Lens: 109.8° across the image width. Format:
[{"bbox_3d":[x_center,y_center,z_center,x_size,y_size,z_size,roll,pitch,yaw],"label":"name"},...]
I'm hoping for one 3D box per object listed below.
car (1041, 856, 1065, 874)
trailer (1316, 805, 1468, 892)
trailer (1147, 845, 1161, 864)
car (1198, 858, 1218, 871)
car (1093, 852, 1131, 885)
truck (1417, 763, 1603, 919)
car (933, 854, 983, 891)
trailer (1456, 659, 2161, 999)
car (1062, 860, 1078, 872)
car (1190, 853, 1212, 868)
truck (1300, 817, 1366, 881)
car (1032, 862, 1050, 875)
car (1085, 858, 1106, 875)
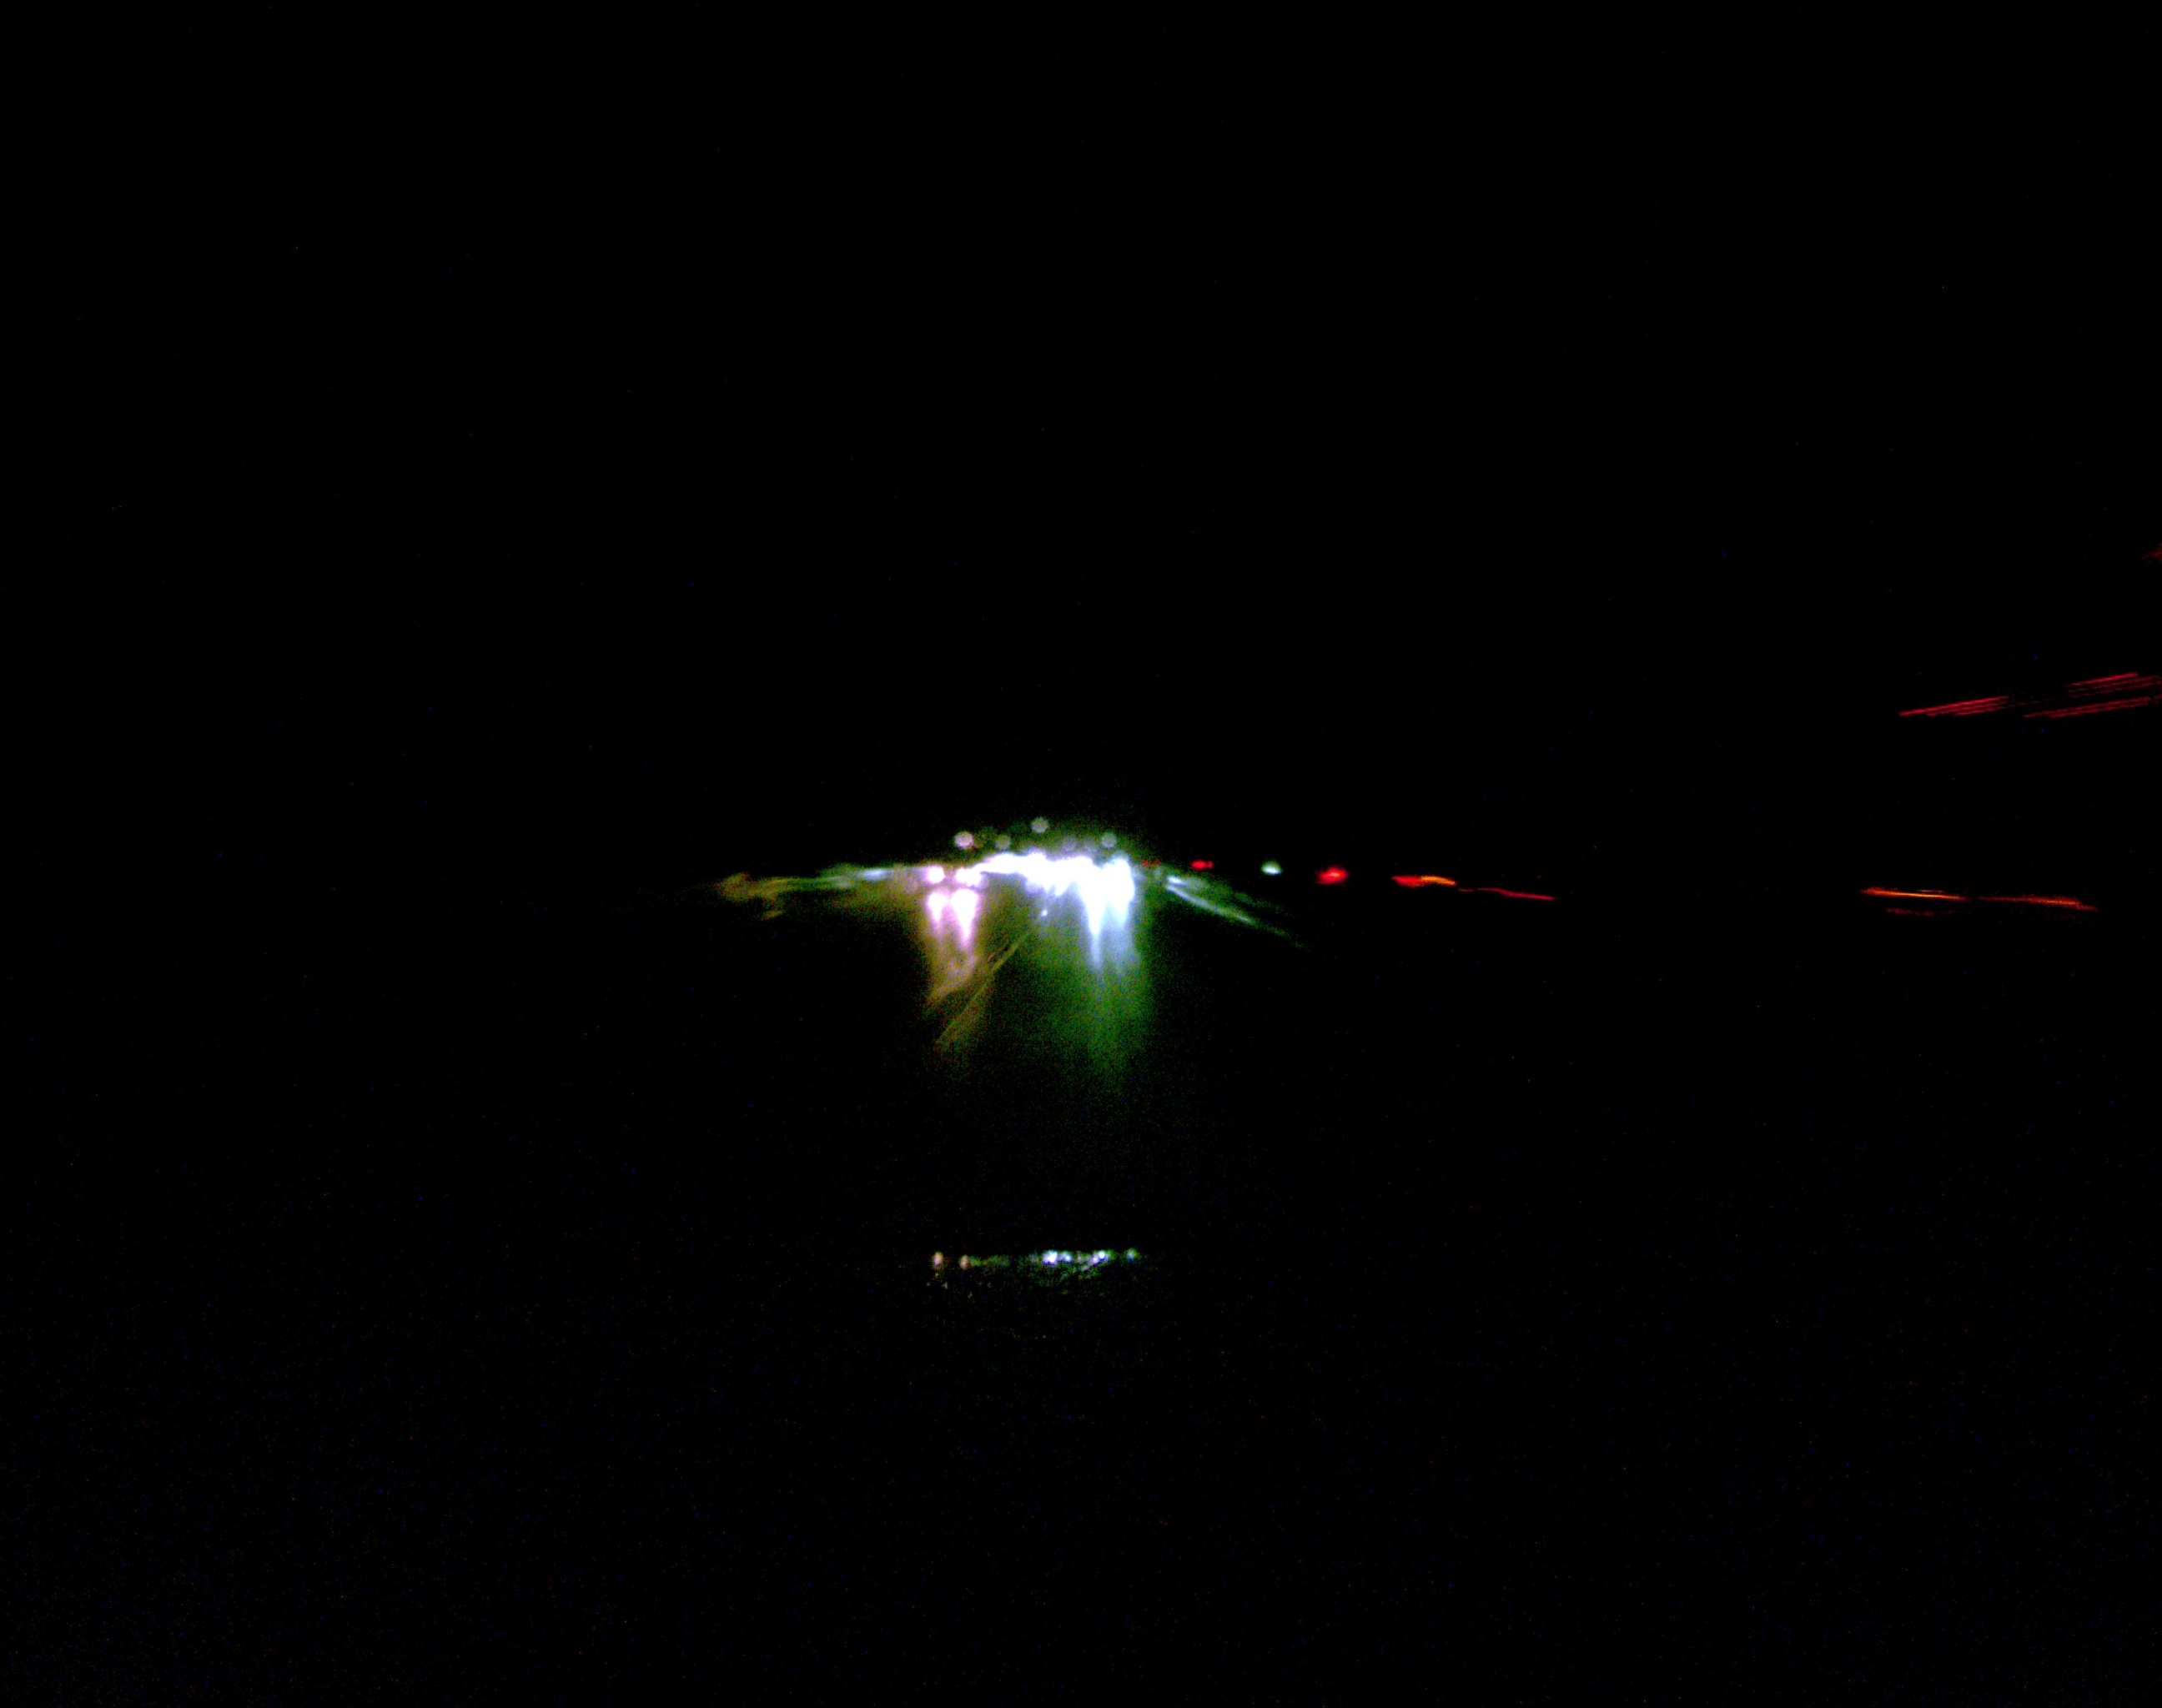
[{"bbox_3d":[-2.712,1.072,75.301,1.882,1.654,4.002,-3,0,4],"label":"car"},{"bbox_3d":[17.719,-0.312,45.191,2.697,4.196,15.643,-2,0,1],"label":"trailer"},{"bbox_3d":[19.288,0.301,201.435,2.411,4.795,10.170,-3,0,-1],"label":"trailer"},{"bbox_3d":[18.302,1.560,109.877,1.999,1.763,4.958,0,1,-1],"label":"car"},{"bbox_3d":[1.730,0.756,41.390,1.882,1.654,4.002,-3,0,4],"label":"car"},{"bbox_3d":[13.519,-0.373,24.540,2.697,4.356,5.734,-2,0,0],"label":"truck"},{"bbox_3d":[-6.657,0.958,41.642,1.832,1.835,4.699,-3,0,0],"label":"car"},{"bbox_3d":[13.483,-0.360,17.183,2.697,4.352,14.630,-2,0,0],"label":"trailer"},{"bbox_3d":[-1.555,1.684,107.728,1.883,1.654,4.001,-3,0,3],"label":"car"},{"bbox_3d":[15.471,0.834,98.165,1.999,1.763,4.958,-1,1,-1],"label":"car"},{"bbox_3d":[17.845,-0.347,54.181,2.697,4.197,5.734,-2,0,1],"label":"truck"},{"bbox_3d":[-5.572,2.037,105.835,1.882,1.654,4.002,-3,0,4],"label":"car"},{"bbox_3d":[1.497,1.248,78.475,1.883,1.654,4.001,-3,0,4],"label":"car"}]
